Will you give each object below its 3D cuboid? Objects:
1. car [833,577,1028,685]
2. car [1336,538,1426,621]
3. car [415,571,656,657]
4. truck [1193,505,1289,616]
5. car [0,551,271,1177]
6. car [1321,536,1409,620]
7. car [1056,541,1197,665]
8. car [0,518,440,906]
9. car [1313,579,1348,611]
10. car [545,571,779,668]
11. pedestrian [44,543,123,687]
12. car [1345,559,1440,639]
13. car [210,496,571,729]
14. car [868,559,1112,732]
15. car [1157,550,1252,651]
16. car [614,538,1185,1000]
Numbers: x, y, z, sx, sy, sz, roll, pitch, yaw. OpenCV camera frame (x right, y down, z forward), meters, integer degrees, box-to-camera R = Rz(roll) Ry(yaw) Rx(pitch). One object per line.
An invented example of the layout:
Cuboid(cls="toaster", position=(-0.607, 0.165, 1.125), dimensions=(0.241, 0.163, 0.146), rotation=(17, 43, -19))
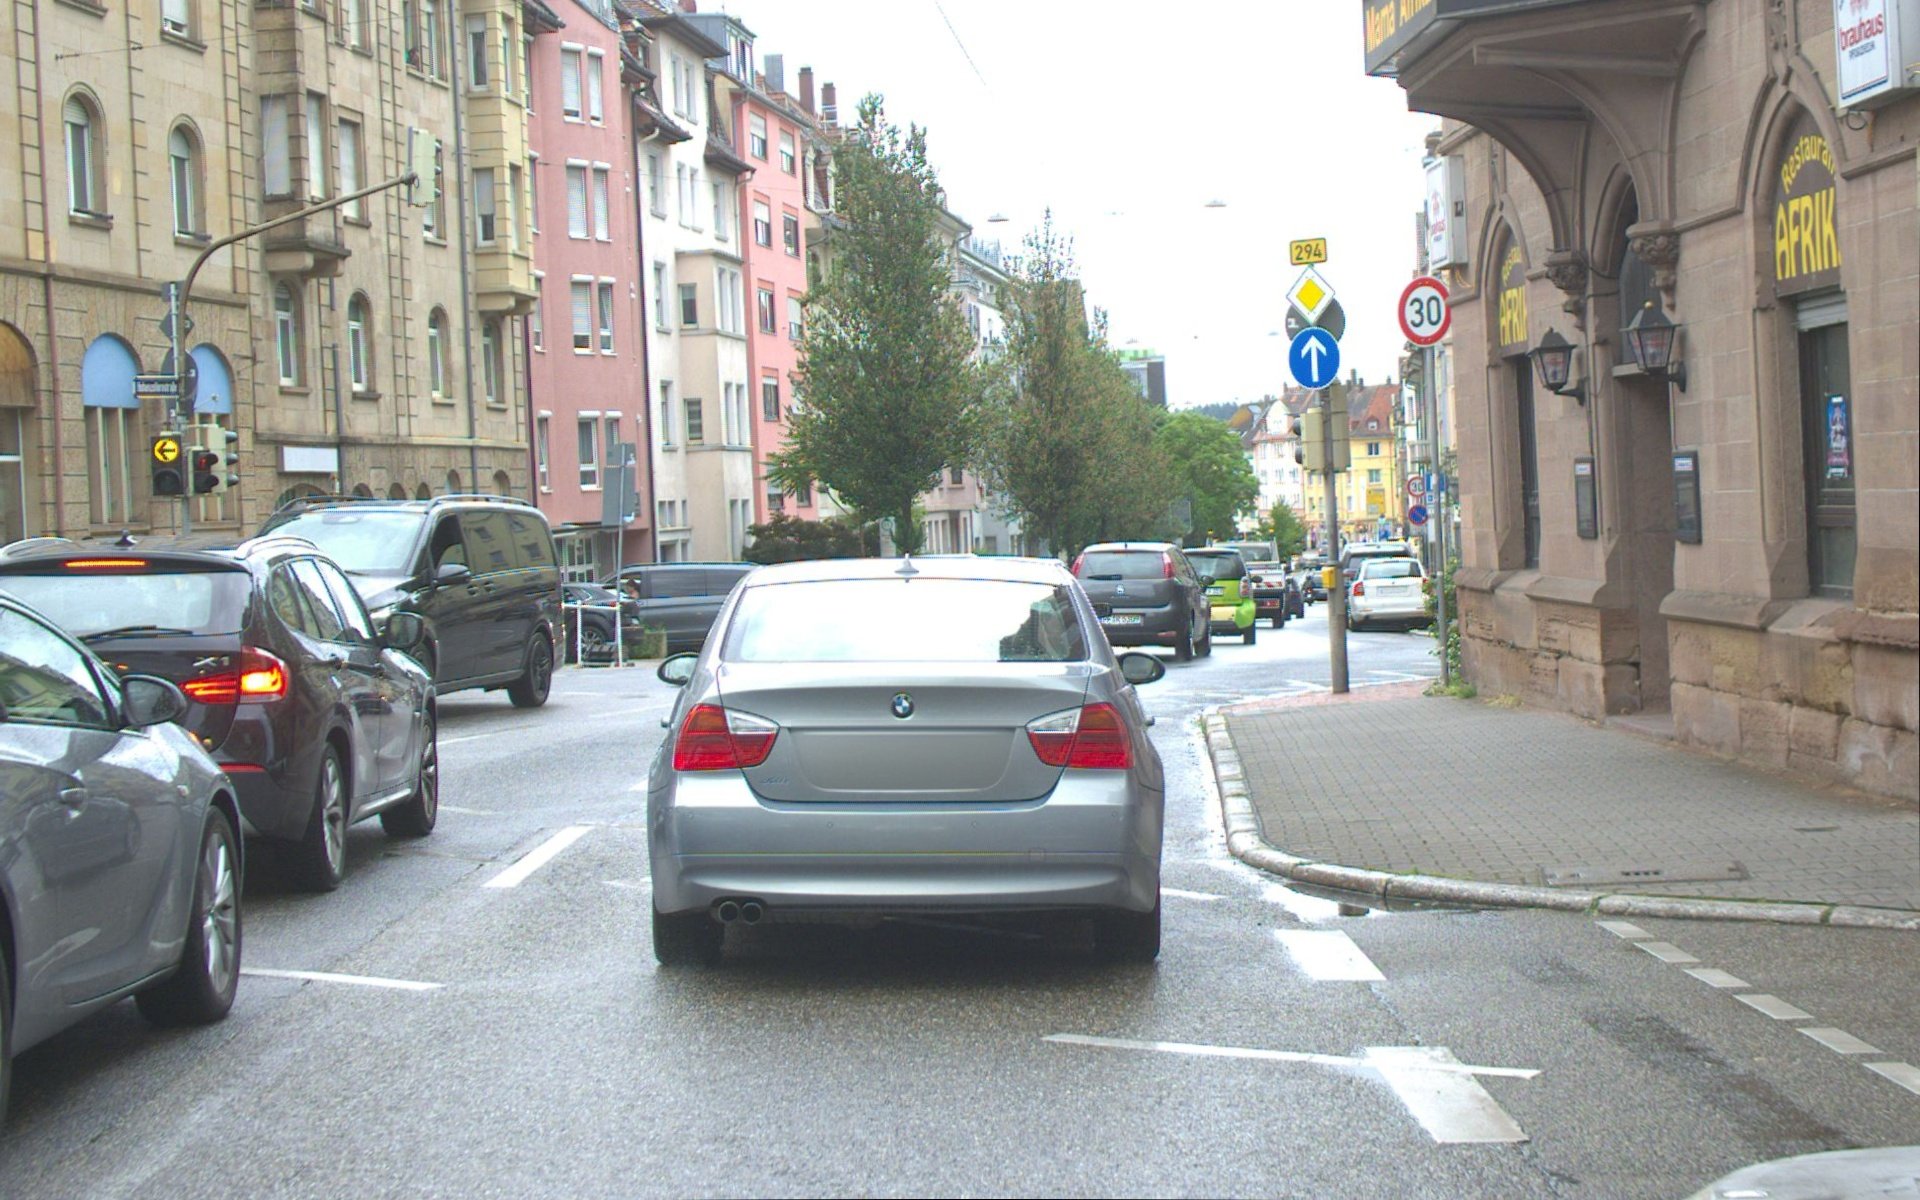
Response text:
Cuboid(cls="car", position=(-0.406, 0.430, 51.599), dimensions=(1.627, 1.513, 3.867), rotation=(0, 1, 21))
Cuboid(cls="car", position=(9.191, -0.438, 75.227), dimensions=(1.879, 1.725, 4.675), rotation=(0, 0, 7))
Cuboid(cls="car", position=(-8.004, 0.256, 65.005), dimensions=(4.148, 1.505, 1.873), rotation=(-1, 0, 7))
Cuboid(cls="truck", position=(6.392, -0.856, 77.836), dimensions=(2.032, 2.404, 4.825), rotation=(-1, 0, 6))
Cuboid(cls="car", position=(-3.156, 0.628, 9.179), dimensions=(1.752, 1.478, 4.181), rotation=(-1, 1, 0))
Cuboid(cls="car", position=(9.595, -0.501, 81.408), dimensions=(1.920, 1.821, 5.008), rotation=(-3, 0, 7))
Cuboid(cls="car", position=(2.115, 0.048, 43.526), dimensions=(1.697, 1.478, 3.793), rotation=(-1, 0, 3))
Cuboid(cls="car", position=(-3.519, 0.463, 15.783), dimensions=(1.752, 1.530, 4.215), rotation=(-1, 0, -2))
Cuboid(cls="car", position=(20.875, -0.291, 193.606), dimensions=(1.879, 1.725, 4.439), rotation=(0, 0, 7))
Cuboid(cls="car", position=(-6.034, 0.377, 70.075), dimensions=(4.674, 1.932, 1.863), rotation=(0, 1, -2))
Cuboid(cls="pedestrian", position=(-10.450, 0.170, 40.988), dimensions=(0.826, 1.696, 0.639), rotation=(0, 1, -23))
Cuboid(cls="car", position=(8.760, -0.031, 69.871), dimensions=(1.799, 1.559, 4.492), rotation=(0, 0, 6))
Cuboid(cls="car", position=(-4.902, 0.092, 30.178), dimensions=(1.743, 1.840, 4.144), rotation=(-2, 0, 11))
Cuboid(cls="car", position=(0.325, 0.382, 30.413), dimensions=(1.682, 1.423, 3.739), rotation=(-1, 0, 8))
Cuboid(cls="car", position=(3.909, 0.018, 55.252), dimensions=(1.449, 1.560, 3.332), rotation=(-1, 0, 3))
Cuboid(cls="car", position=(-0.250, 0.529, 12.608), dimensions=(1.769, 1.423, 3.741), rotation=(-1, 0, -2))
